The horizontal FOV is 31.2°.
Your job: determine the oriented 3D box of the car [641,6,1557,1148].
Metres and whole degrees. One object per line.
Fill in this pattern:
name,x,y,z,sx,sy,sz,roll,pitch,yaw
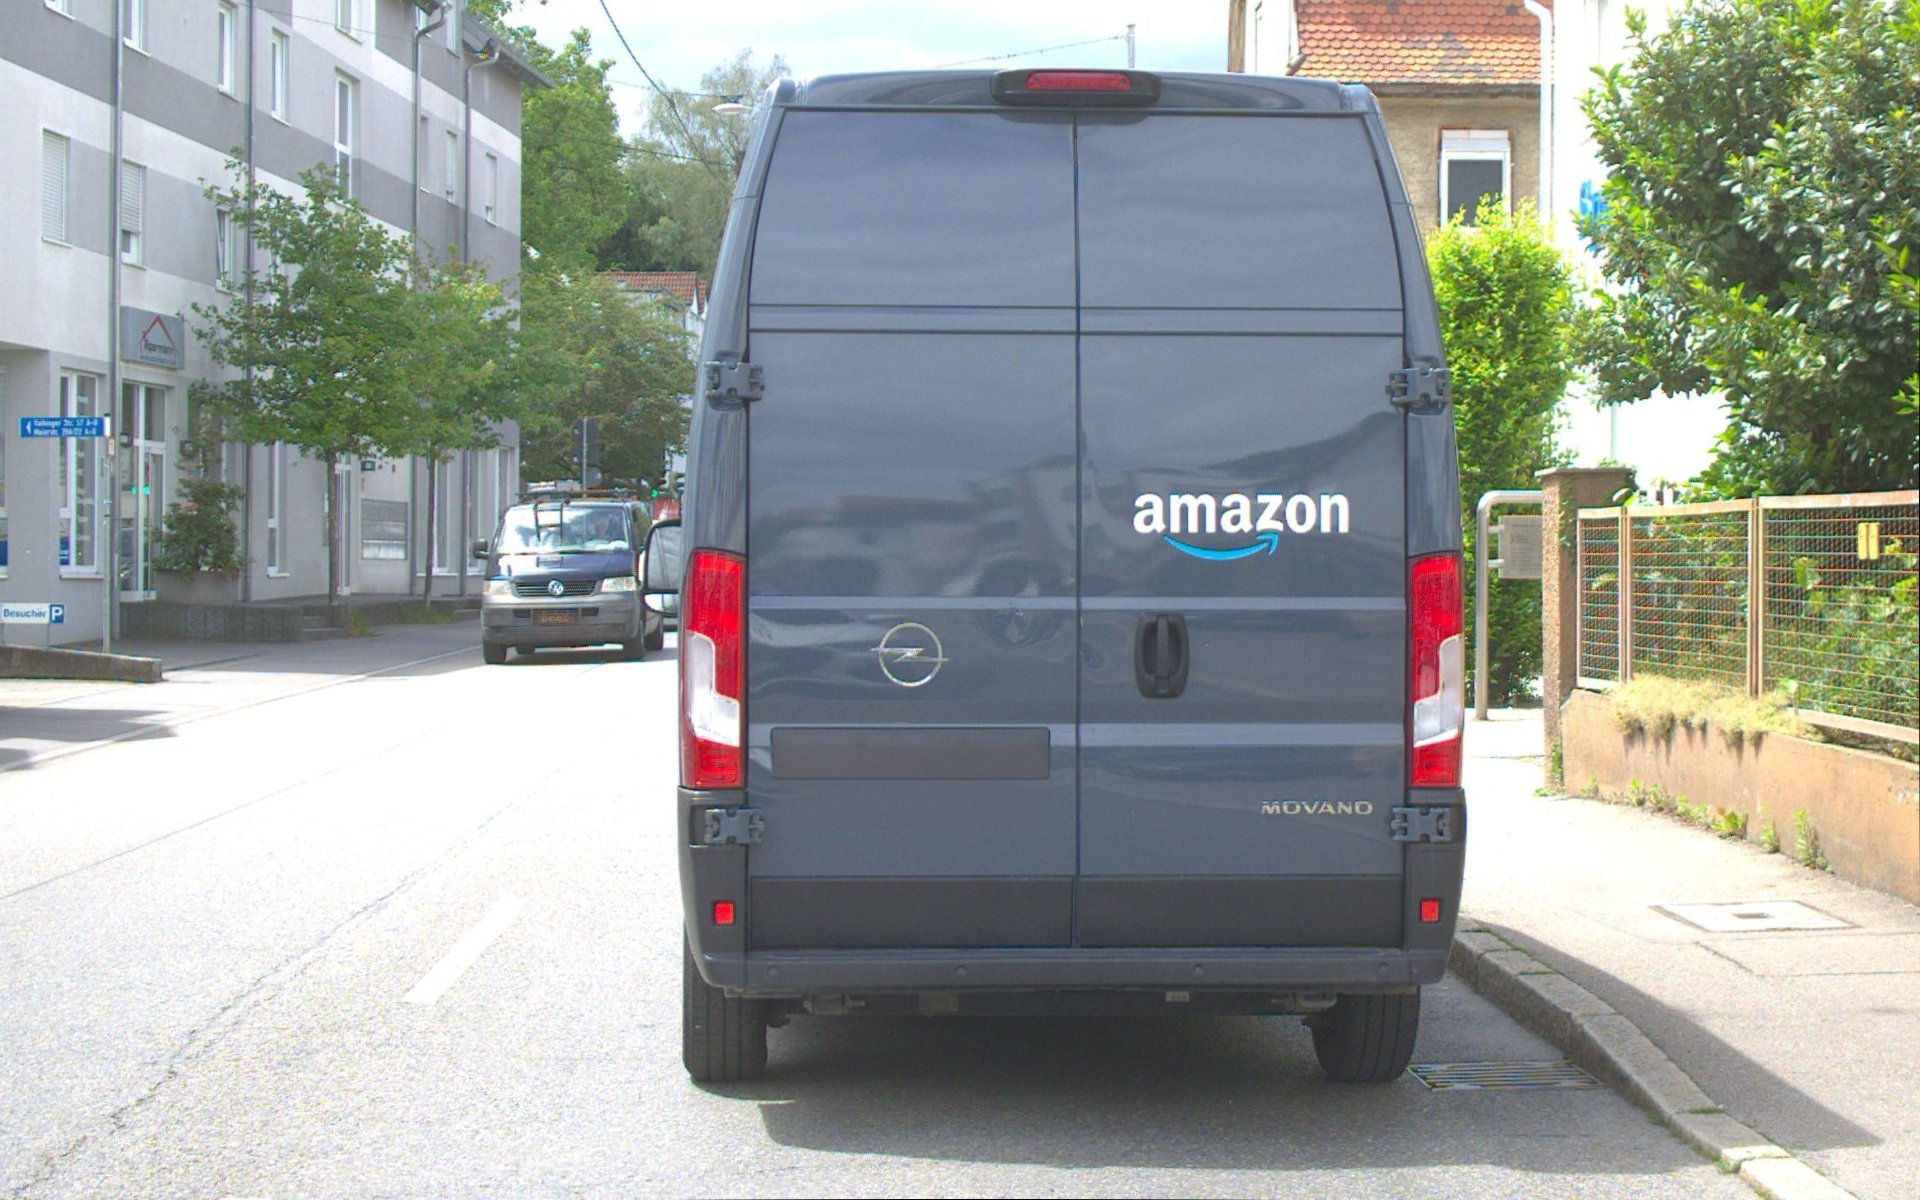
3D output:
car,0.190,-0.104,11.233,2.252,2.786,5.570,0,1,-3

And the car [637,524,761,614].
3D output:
car,-4.768,-0.595,63.430,2.105,1.590,4.650,0,1,-2

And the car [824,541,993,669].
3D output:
car,-0.570,0.023,41.426,1.896,1.448,3.968,0,1,1

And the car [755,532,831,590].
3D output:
car,-4.681,-1.117,96.913,2.105,1.590,4.650,0,1,-2

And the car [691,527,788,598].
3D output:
car,-5.064,-0.886,79.408,2.105,1.590,4.650,0,1,-2

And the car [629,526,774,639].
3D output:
car,-4.037,-0.311,54.288,2.105,1.704,4.766,0,1,-2

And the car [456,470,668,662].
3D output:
car,-4.711,-0.430,41.355,2.105,2.114,4.766,-2,1,-2
